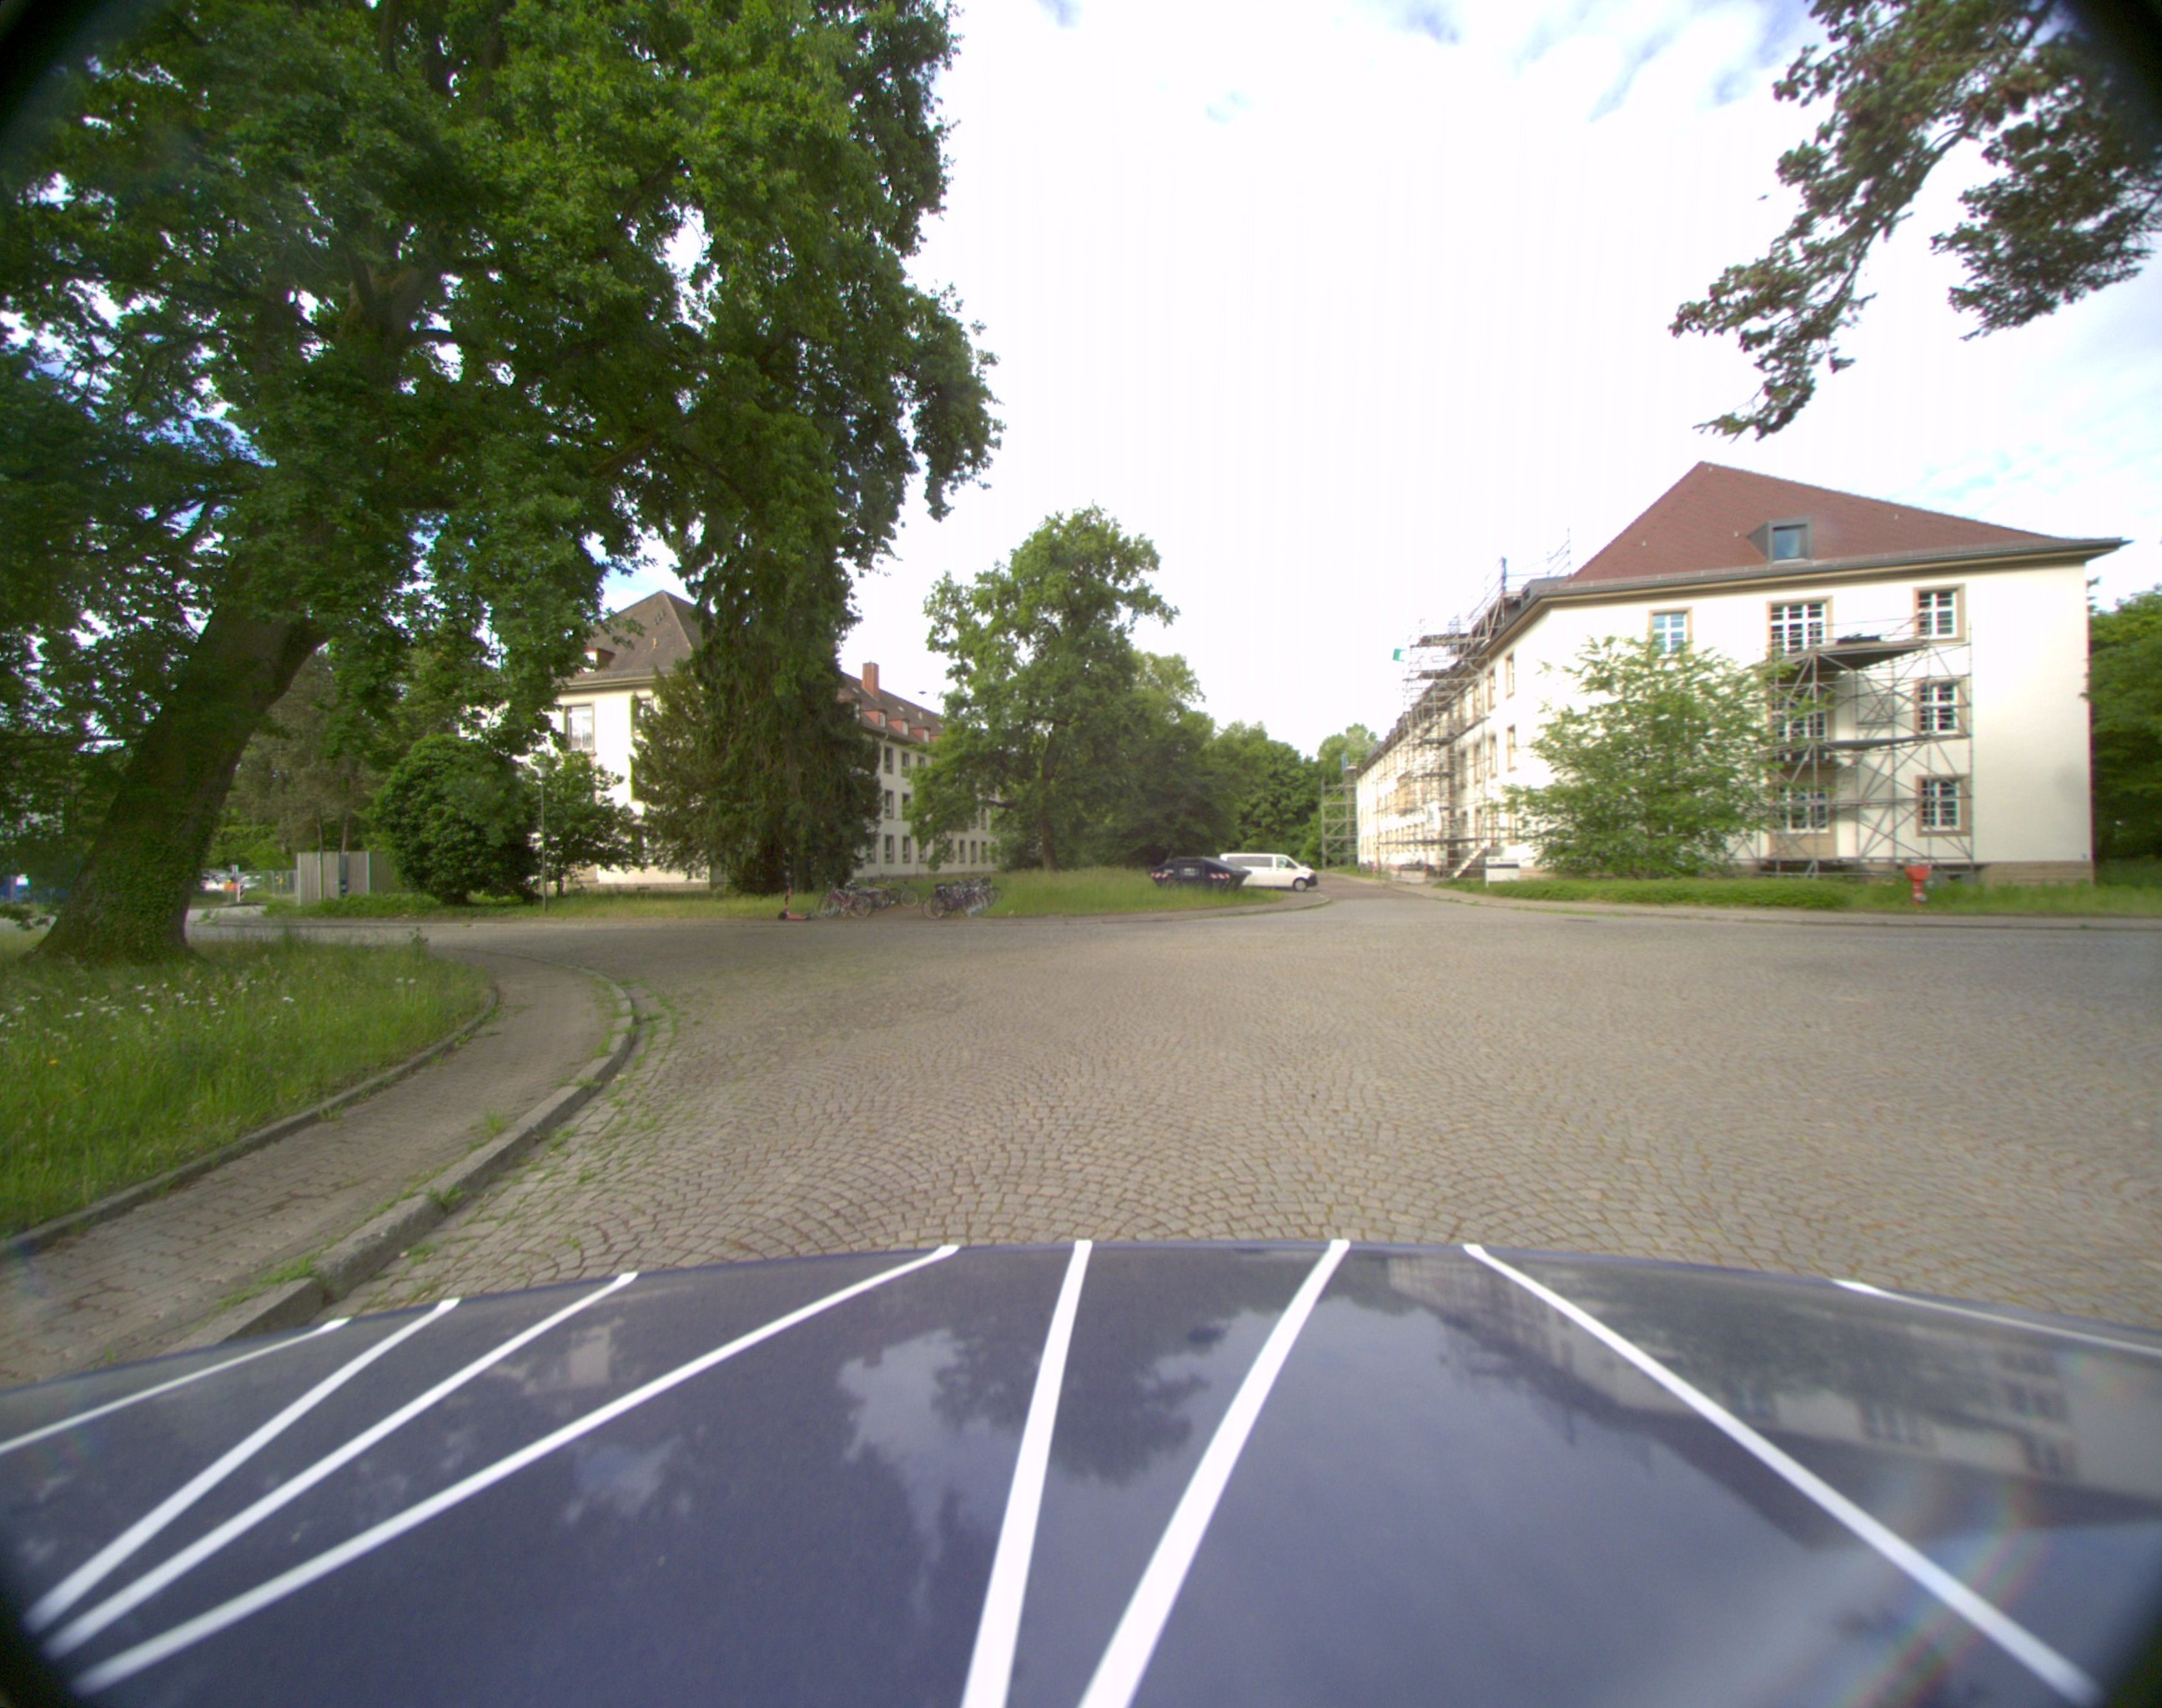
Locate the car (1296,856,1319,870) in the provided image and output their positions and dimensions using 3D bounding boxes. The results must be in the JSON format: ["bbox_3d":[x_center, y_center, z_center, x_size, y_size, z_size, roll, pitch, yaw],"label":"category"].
[{"bbox_3d":[30.894,1.201,103.833,2.026,1.915,4.001,-1,-1,3],"label":"car"}]

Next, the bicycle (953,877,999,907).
[{"bbox_3d":[-4.058,1.469,29.424,1.751,1.082,0.553,-1,2,-8],"label":"bicycle"}]

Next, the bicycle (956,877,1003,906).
[{"bbox_3d":[-4.038,1.468,30.219,1.825,1.082,0.553,-1,2,-8],"label":"bicycle"}]

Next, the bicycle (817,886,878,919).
[{"bbox_3d":[-7.539,1.560,24.626,1.857,0.984,0.456,-1,0,-13],"label":"bicycle"}]

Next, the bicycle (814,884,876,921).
[{"bbox_3d":[-7.451,1.535,24.074,1.814,1.082,0.478,-1,2,-13],"label":"bicycle"}]

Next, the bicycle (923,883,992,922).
[{"bbox_3d":[-3.694,1.444,22.887,2.018,1.082,0.478,-1,2,-8],"label":"bicycle"}]

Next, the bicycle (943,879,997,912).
[{"bbox_3d":[-3.908,1.457,26.744,1.866,1.082,0.519,-1,2,-8],"label":"bicycle"}]

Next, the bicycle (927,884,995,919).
[{"bbox_3d":[-3.688,1.452,23.380,2.018,1.004,0.478,-1,2,-8],"label":"bicycle"}]

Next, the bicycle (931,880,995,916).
[{"bbox_3d":[-3.800,1.423,24.508,2.018,1.082,0.478,-1,2,-8],"label":"bicycle"}]

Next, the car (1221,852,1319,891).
[{"bbox_3d":[9.985,0.919,40.492,4.911,1.982,2.002,-1,0,11],"label":"car"}]

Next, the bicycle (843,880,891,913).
[{"bbox_3d":[-7.434,1.468,26.365,1.567,1.082,0.561,-1,0,-17],"label":"bicycle"}]

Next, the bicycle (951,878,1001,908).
[{"bbox_3d":[-3.951,1.464,28.650,1.808,1.082,0.553,-1,2,-8],"label":"bicycle"}]

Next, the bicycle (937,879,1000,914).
[{"bbox_3d":[-3.715,1.410,25.144,2.018,1.082,0.478,-1,2,-8],"label":"bicycle"}]

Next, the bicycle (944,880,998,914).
[{"bbox_3d":[-3.748,1.453,25.963,1.789,1.082,0.478,-1,2,-8],"label":"bicycle"}]

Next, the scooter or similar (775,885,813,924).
[{"bbox_3d":[-8.927,1.557,23.623,1.062,1.187,0.386,-1,0,16],"label":"scooter or similar"}]

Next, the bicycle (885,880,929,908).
[{"bbox_3d":[-6.549,1.496,28.636,1.566,1.028,0.476,-1,0,-10],"label":"bicycle"}]
